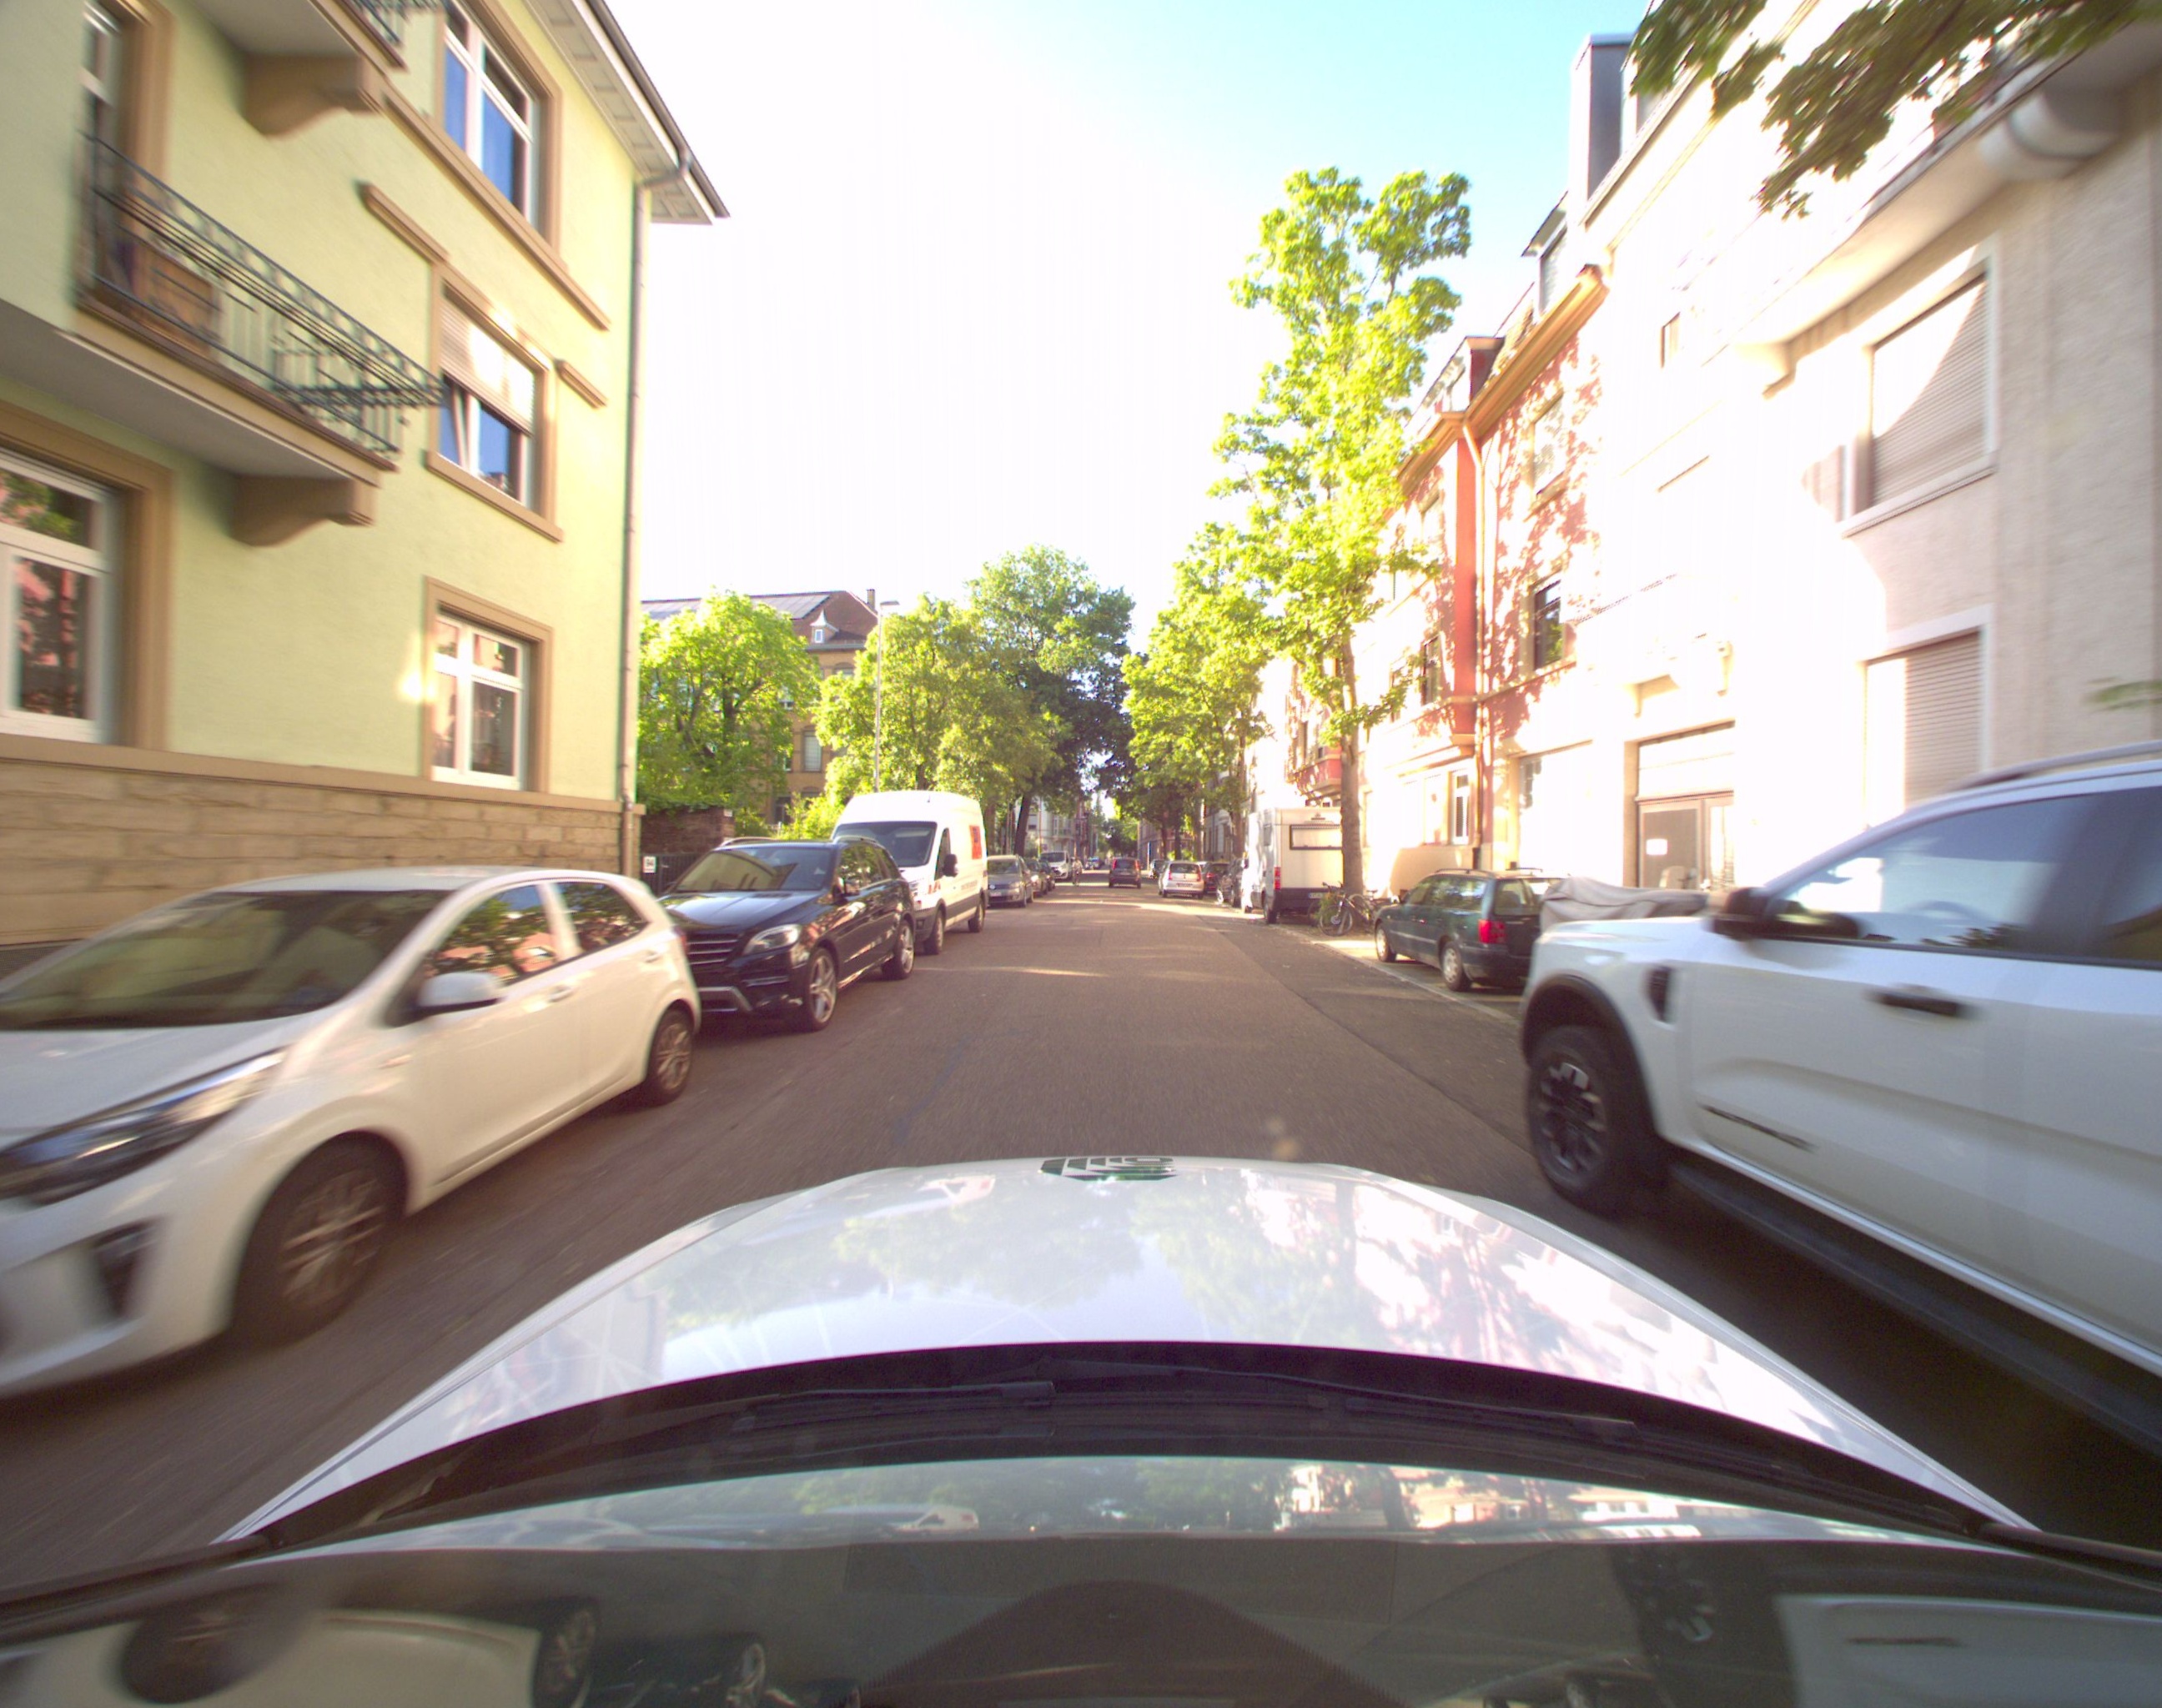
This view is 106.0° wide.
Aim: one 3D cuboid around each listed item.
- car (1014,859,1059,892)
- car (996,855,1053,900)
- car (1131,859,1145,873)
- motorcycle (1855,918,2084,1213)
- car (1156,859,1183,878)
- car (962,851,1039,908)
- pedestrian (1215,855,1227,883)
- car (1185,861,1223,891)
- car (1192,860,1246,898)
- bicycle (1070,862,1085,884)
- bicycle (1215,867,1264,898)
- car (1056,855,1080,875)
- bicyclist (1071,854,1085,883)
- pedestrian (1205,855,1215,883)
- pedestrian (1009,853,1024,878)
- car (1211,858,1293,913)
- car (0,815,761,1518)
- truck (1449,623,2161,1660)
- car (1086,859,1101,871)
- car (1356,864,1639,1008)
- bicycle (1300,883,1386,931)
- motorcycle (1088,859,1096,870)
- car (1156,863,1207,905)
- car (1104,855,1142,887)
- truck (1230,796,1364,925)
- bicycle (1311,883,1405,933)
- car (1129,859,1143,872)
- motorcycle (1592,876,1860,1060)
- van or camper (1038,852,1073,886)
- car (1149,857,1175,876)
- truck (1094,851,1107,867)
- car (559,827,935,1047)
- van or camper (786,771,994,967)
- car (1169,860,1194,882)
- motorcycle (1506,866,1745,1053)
[{"bbox_3d":[-2.013,0.947,37.939,1.707,1.395,4.780,-3,0,1],"label":"car"},{"bbox_3d":[-2.130,0.848,31.638,1.669,1.572,4.154,-2,0,3],"label":"car"},{"bbox_3d":[7.173,1.446,102.267,1.656,1.669,3.760,2,0,3],"label":"car"},{"bbox_3d":[4.956,1.023,4.507,1.773,1.240,0.694,2,0,-37],"label":"motorcycle"},{"bbox_3d":[7.173,1.166,66.126,1.606,1.478,3.867,1,0,-2],"label":"car"},{"bbox_3d":[-2.414,0.740,25.437,1.773,1.591,4.470,-1,0,2],"label":"car"},{"bbox_3d":[8.766,0.929,51.041,0.593,1.701,0.689,2,0,3],"label":"pedestrian"},{"bbox_3d":[6.463,1.147,43.129,1.590,1.488,3.750,0,0,2],"label":"car"},{"bbox_3d":[6.185,1.087,36.909,1.780,1.514,4.461,2,0,1],"label":"car"},{"bbox_3d":[-0.171,0.983,42.731,0.662,1.077,1.687,2,0,4],"label":"bicycle"},{"bbox_3d":[6.280,1.129,32.254,1.804,1.167,0.569,-1,-1,1],"label":"bicycle"},{"bbox_3d":[-1.068,0.910,68.293,1.819,1.554,4.132,-3,0,0],"label":"car"},{"bbox_3d":[-0.168,0.751,42.734,0.649,1.509,0.625,2,0,4],"label":"bicyclist"},{"bbox_3d":[8.103,0.949,51.200,0.517,1.735,0.879,2,0,4],"label":"pedestrian"},{"bbox_3d":[-4.200,0.766,52.844,0.877,1.577,0.530,2,-1,2],"label":"pedestrian"},{"bbox_3d":[5.868,1.010,28.509,1.879,1.716,4.944,1,0,1],"label":"car"},{"bbox_3d":[-3.151,0.715,3.753,1.629,1.552,4.089,0,-1,1],"label":"car"},{"bbox_3d":[2.976,0.559,1.989,1.821,1.949,5.544,2,0,2],"label":"truck"},{"bbox_3d":[1.650,1.354,104.888,1.789,1.432,3.928,-2,0,3],"label":"car"},{"bbox_3d":[5.376,0.928,11.350,1.743,1.529,4.785,0,0,3],"label":"car"},{"bbox_3d":[5.879,1.180,18.332,1.699,1.000,0.705,1,0,-5],"label":"bicycle"},{"bbox_3d":[1.380,1.313,101.596,0.696,1.461,1.746,0,0,-7],"label":"motorcycle"},{"bbox_3d":[4.090,1.198,33.639,1.673,1.544,3.801,2,0,1],"label":"car"},{"bbox_3d":[2.076,0.819,41.029,1.628,1.550,3.262,1,0,-1],"label":"car"},{"bbox_3d":[5.614,0.166,22.107,2.066,2.969,6.110,-1,0,1],"label":"truck"},{"bbox_3d":[5.770,1.115,17.022,1.777,0.949,0.580,1,0,3],"label":"bicycle"},{"bbox_3d":[7.187,1.479,106.765,1.656,1.505,3.760,2,0,3],"label":"car"},{"bbox_3d":[5.982,0.960,7.784,0.858,1.416,2.236,2,0,3],"label":"motorcycle"},{"bbox_3d":[-1.560,0.932,52.470,1.915,1.980,5.463,-2,-1,1],"label":"van or camper"},{"bbox_3d":[7.053,1.059,71.629,1.783,1.551,4.408,2,0,-1],"label":"car"},{"bbox_3d":[3.793,0.880,157.496,2.062,2.926,5.072,-3,0,3],"label":"truck"},{"bbox_3d":[-3.053,0.650,8.826,1.868,1.685,4.971,-1,0,2],"label":"car"},{"bbox_3d":[-3.049,0.228,14.602,2.120,2.769,5.854,-1,0,2],"label":"van or camper"},{"bbox_3d":[7.103,1.195,57.957,1.514,1.511,3.546,1,0,3],"label":"car"},{"bbox_3d":[5.042,0.885,7.782,0.926,1.486,2.140,2,0,3],"label":"motorcycle"}]
